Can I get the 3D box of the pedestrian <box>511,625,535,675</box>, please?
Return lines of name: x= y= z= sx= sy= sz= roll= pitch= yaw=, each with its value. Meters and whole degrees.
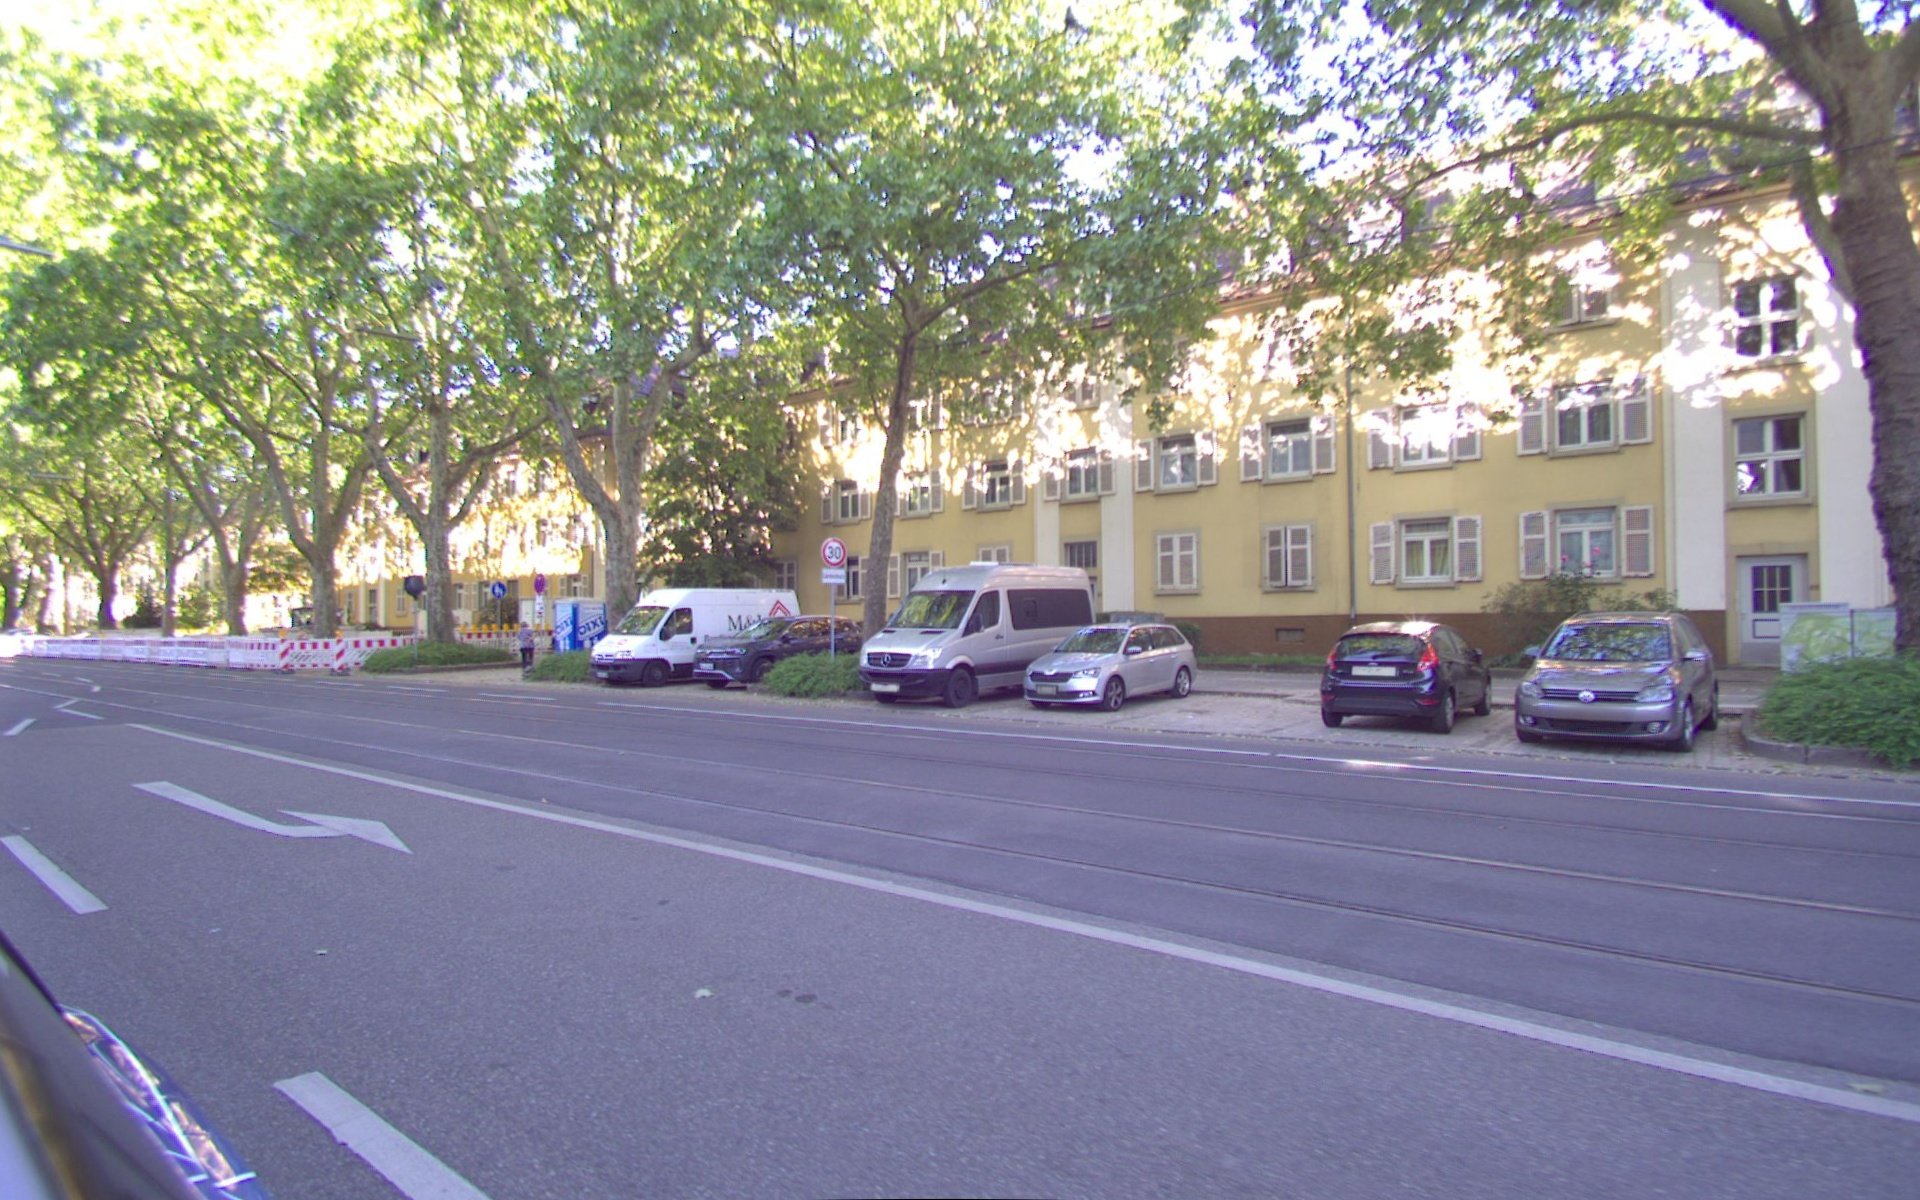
pedestrian: x=-13.970 y=1.590 z=32.369 sx=0.587 sy=1.585 sz=0.719 roll=0 pitch=-2 yaw=-11

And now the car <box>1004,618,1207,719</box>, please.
car: x=2.739 y=1.133 z=18.313 sx=1.729 sy=1.481 sz=4.102 roll=0 pitch=1 yaw=40

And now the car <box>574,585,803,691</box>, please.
car: x=-6.721 y=0.924 z=25.721 sx=2.023 sy=2.394 sz=5.543 roll=-2 pitch=-2 yaw=38

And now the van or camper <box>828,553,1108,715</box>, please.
van or camper: x=0.391 y=0.588 z=19.904 sx=2.227 sy=2.697 sz=6.051 roll=-2 pitch=-1 yaw=39

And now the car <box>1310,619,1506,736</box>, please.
car: x=6.599 y=1.023 z=14.724 sx=1.741 sy=1.440 sz=3.528 roll=-2 pitch=-1 yaw=39

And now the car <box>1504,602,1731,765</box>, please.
car: x=8.424 y=0.901 z=12.805 sx=1.814 sy=1.617 sz=4.145 roll=-2 pitch=0 yaw=41

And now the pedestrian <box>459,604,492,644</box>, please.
pedestrian: x=-25.177 y=1.252 z=52.611 sx=1.233 sy=2.029 sz=1.085 roll=-2 pitch=-2 yaw=36

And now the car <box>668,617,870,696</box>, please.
car: x=-4.373 y=1.250 z=23.795 sx=1.967 sy=1.643 sz=4.519 roll=-2 pitch=-2 yaw=38
